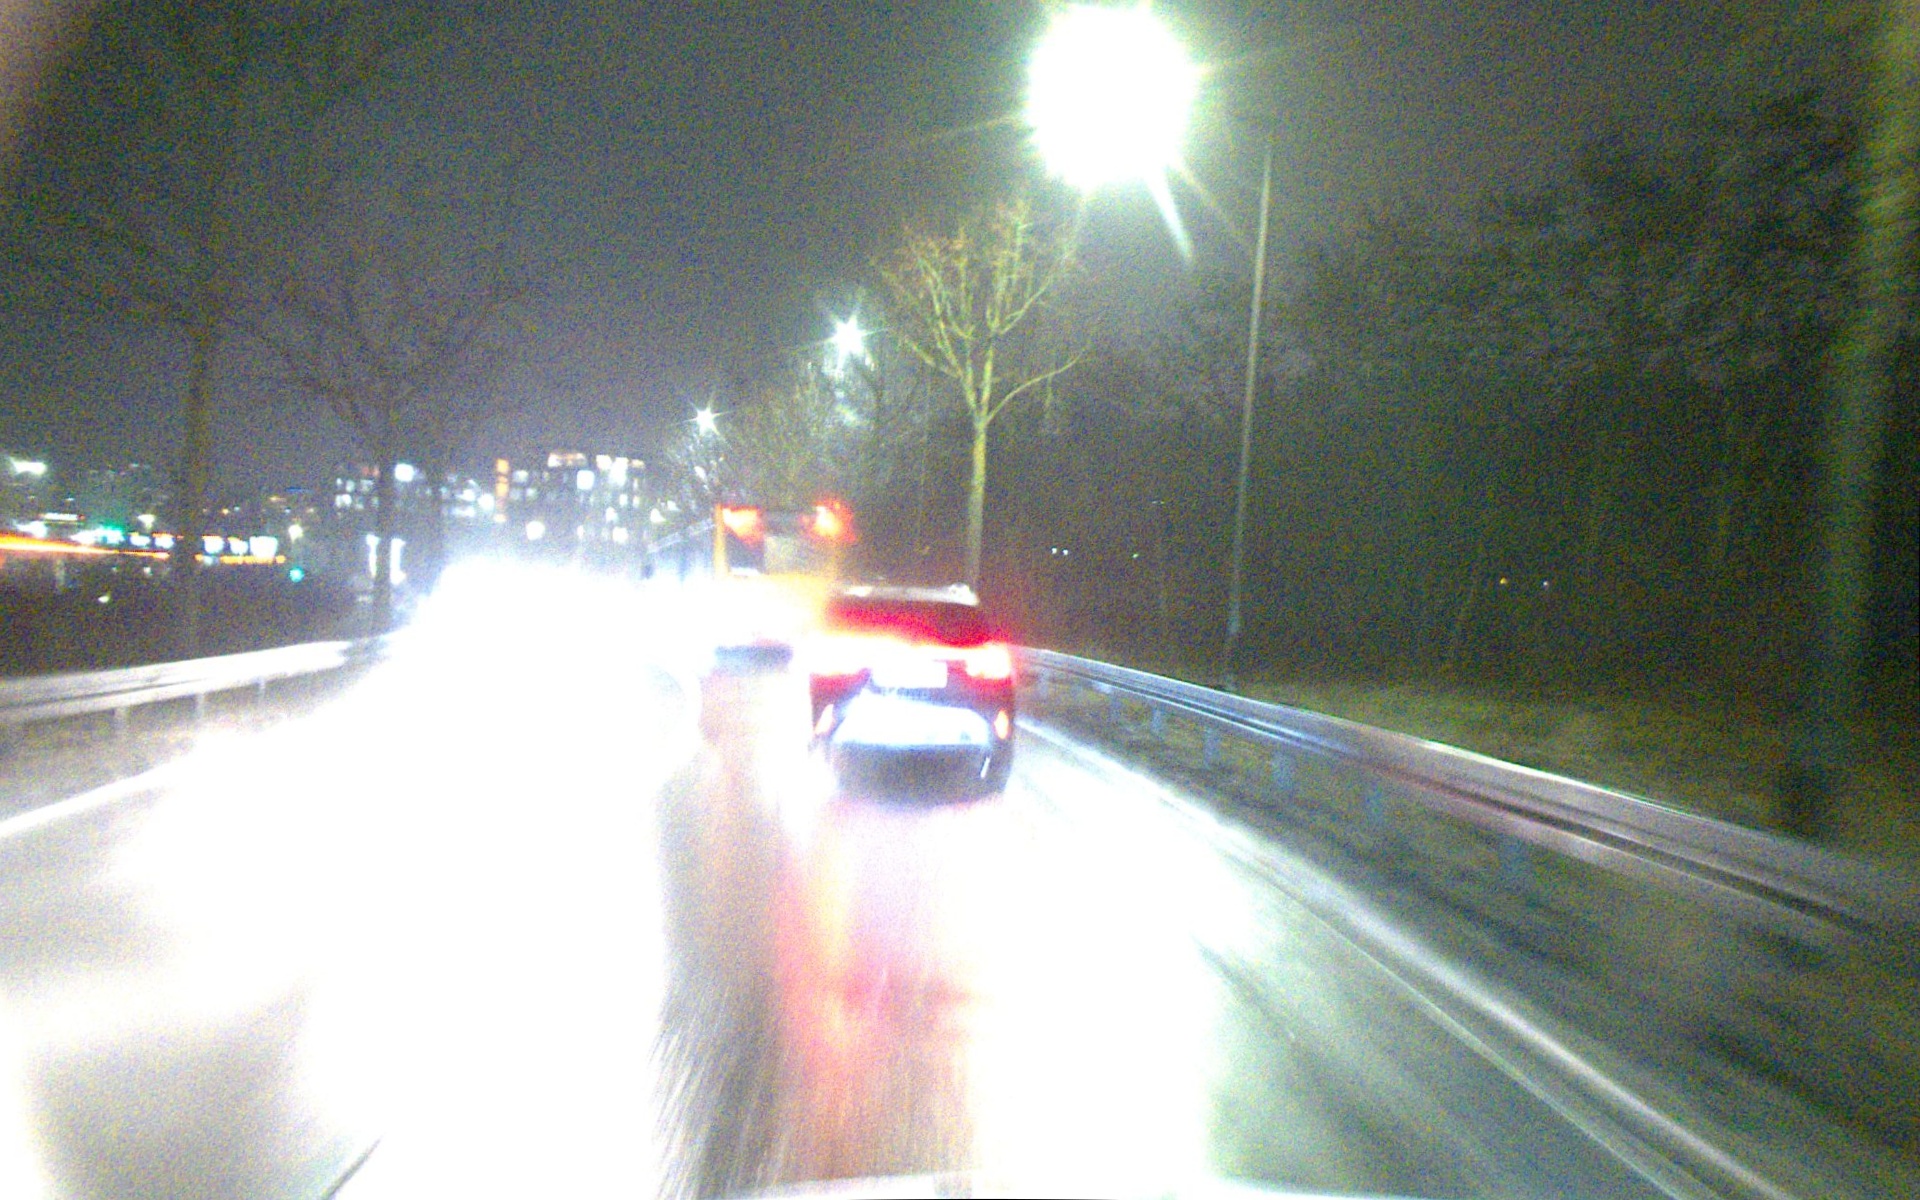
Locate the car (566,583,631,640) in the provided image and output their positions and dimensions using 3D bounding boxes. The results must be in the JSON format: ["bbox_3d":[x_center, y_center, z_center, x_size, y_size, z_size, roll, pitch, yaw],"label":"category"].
[{"bbox_3d":[-16.673,0.513,76.185,2.653,2.521,5.283,0,0,-15],"label":"car"}]

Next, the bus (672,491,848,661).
[{"bbox_3d":[-4.636,-0.477,36.553,2.990,3.268,9.021,0,0,-12],"label":"bus"}]

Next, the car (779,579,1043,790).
[{"bbox_3d":[-0.483,0.630,14.491,1.954,1.551,3.997,1,0,-4],"label":"car"}]

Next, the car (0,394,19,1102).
[{"bbox_3d":[-3.747,0.429,1.950,2.401,2.022,5.489,1,0,-4],"label":"car"}]

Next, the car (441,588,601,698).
[{"bbox_3d":[-6.128,0.548,23.474,1.696,1.429,3.857,0,0,-7],"label":"car"}]
